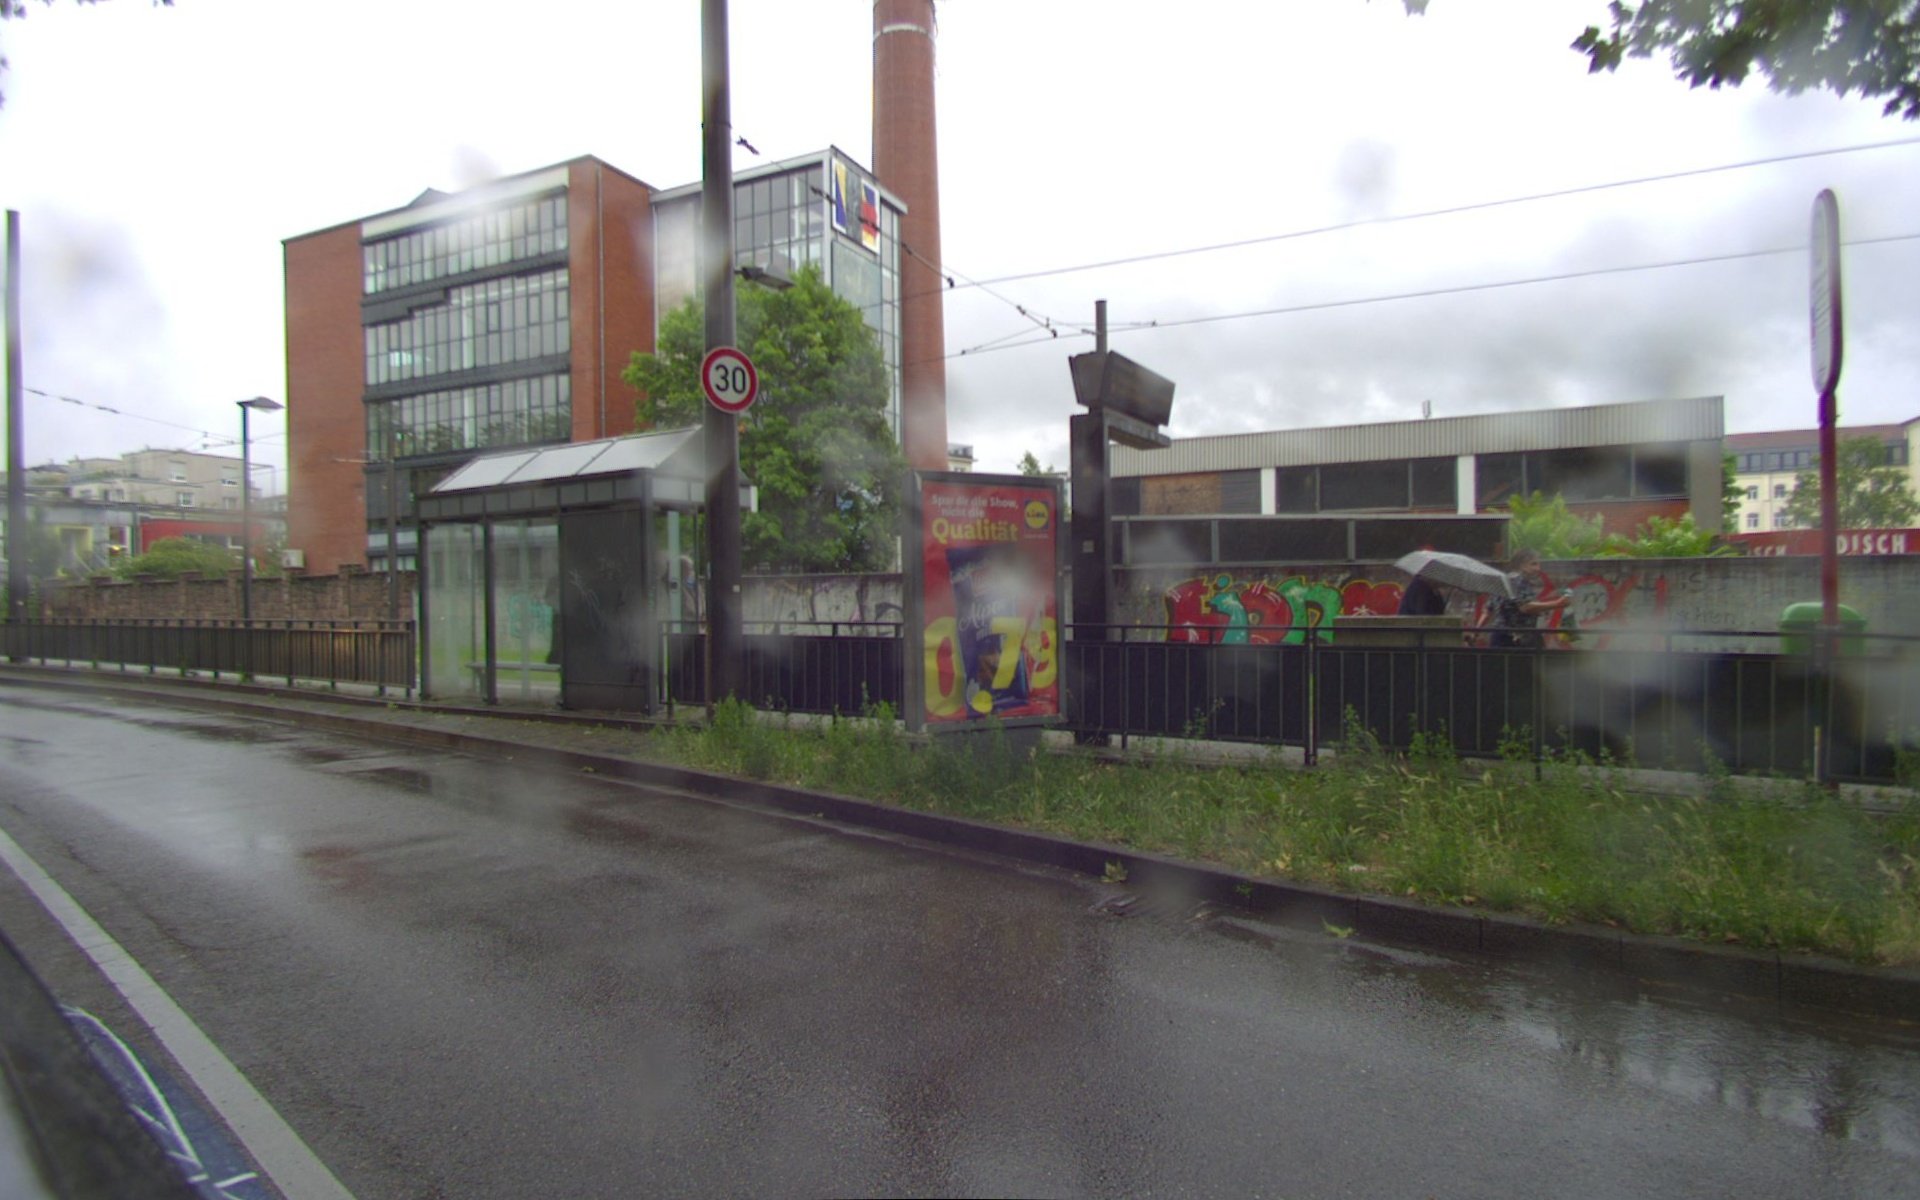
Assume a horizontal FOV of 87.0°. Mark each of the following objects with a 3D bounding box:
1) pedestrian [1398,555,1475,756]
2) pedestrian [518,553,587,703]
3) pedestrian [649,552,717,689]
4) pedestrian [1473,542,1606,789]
[{"bbox_3d":[3.578,0.399,7.613,0.492,1.438,0.606,-1,0,25],"label":"pedestrian"},{"bbox_3d":[-4.954,0.324,12.314,0.620,1.762,0.565,0,0,-41],"label":"pedestrian"},{"bbox_3d":[-3.370,0.246,12.344,0.491,1.615,0.711,-1,0,18],"label":"pedestrian"},{"bbox_3d":[4.586,0.486,8.041,0.841,1.818,0.819,-1,0,30],"label":"pedestrian"}]
